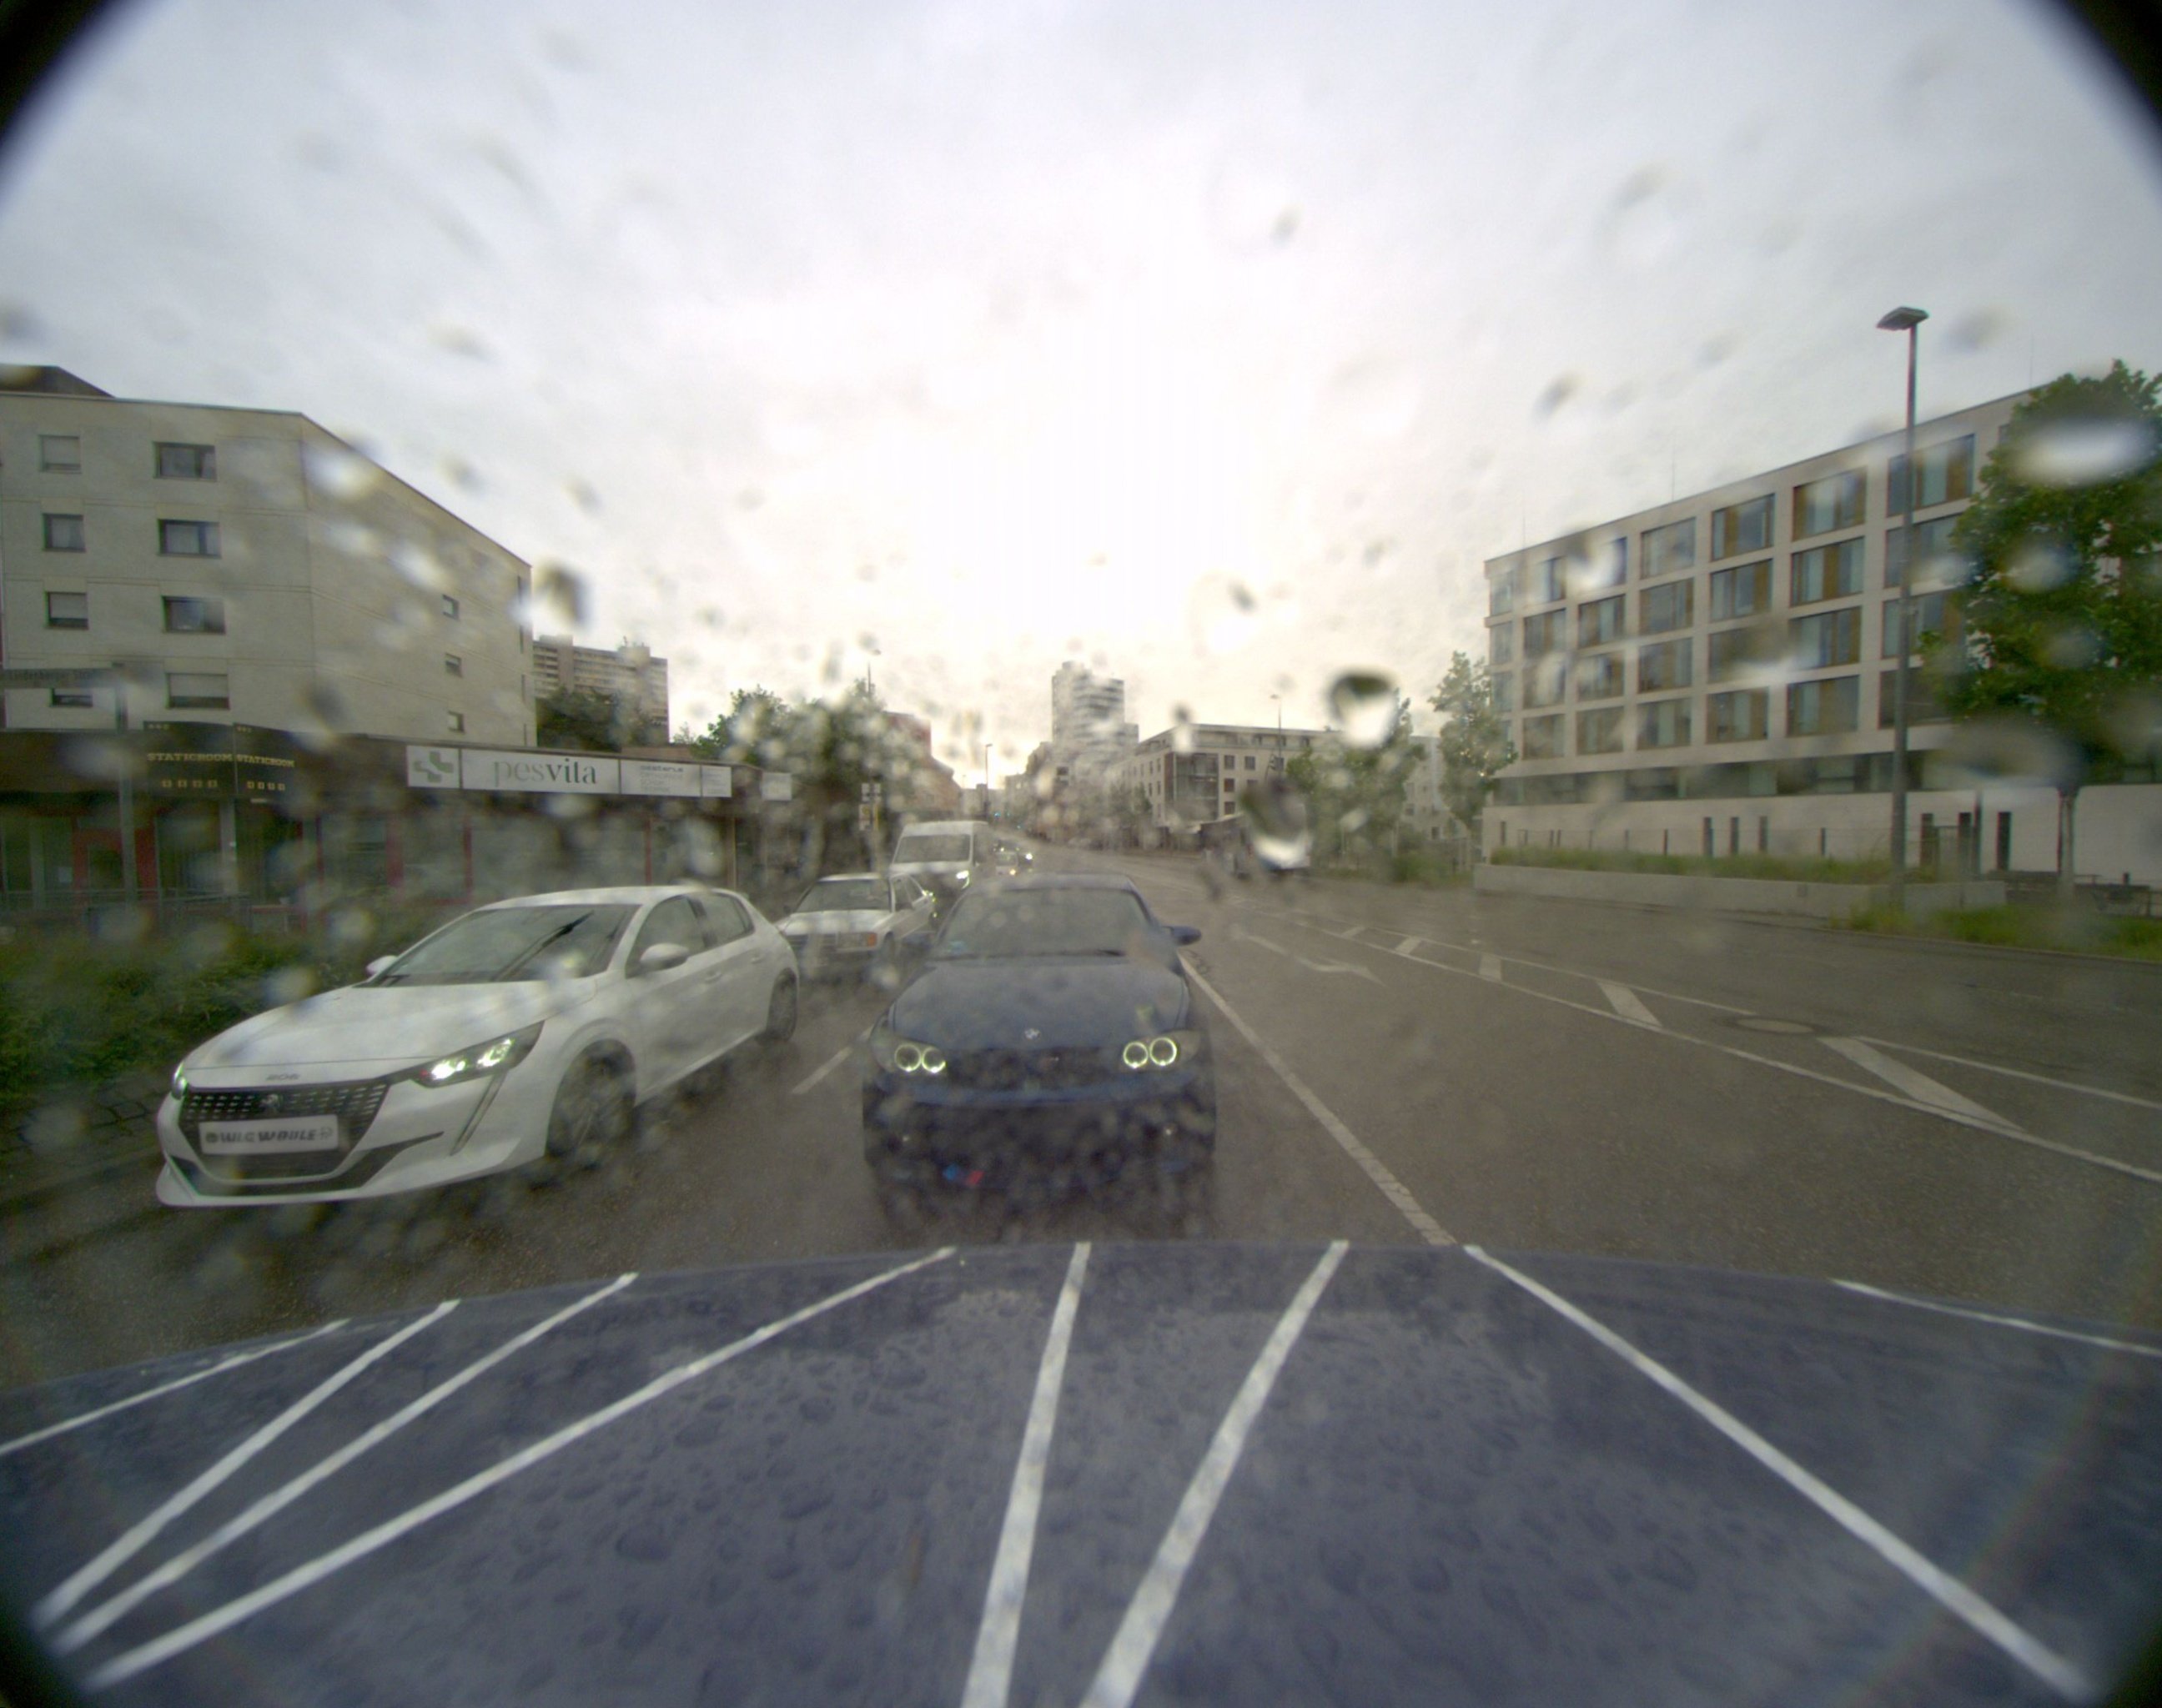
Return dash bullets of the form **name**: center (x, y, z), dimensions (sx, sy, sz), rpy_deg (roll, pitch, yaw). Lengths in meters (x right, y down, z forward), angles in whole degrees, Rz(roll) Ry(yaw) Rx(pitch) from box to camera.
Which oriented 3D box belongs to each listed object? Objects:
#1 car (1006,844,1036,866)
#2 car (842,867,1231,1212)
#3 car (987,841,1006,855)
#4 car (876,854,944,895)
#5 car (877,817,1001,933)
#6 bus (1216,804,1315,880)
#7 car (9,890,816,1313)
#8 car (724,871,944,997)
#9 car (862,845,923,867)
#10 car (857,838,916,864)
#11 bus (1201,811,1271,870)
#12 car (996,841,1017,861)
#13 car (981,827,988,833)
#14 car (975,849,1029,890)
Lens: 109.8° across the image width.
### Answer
- **car**: center (-4.550, 0.046, 57.911), dimensions (1.999, 1.559, 3.998), rpy_deg (-2, 1, -1)
- **car**: center (-0.238, 0.861, 5.397), dimensions (1.693, 1.380, 3.999), rpy_deg (-2, 1, -1)
- **car**: center (-10.771, -0.778, 97.318), dimensions (1.879, 1.745, 4.000), rpy_deg (1, 0, 1)
- **car**: center (-7.006, 0.788, 31.578), dimensions (1.788, 1.481, 4.000), rpy_deg (-2, 1, 1)
- **car**: center (-3.465, 0.404, 19.852), dimensions (2.197, 2.503, 6.120), rpy_deg (-1, 1, -2)
- **bus**: center (8.357, -0.543, 35.682), dimensions (2.783, 3.096, 9.369), rpy_deg (0, 1, 3)
- **car**: center (-3.364, 1.084, 5.071), dimensions (1.666, 1.407, 4.114), rpy_deg (-2, 1, 1)
- **car**: center (-3.366, 1.019, 11.283), dimensions (1.788, 1.338, 4.162), rpy_deg (-2, 1, 1)
- **car**: center (-13.105, 0.115, 53.004), dimensions (4.000, 1.419, 1.882), rpy_deg (-1, 1, -10)
- **car**: center (-14.130, -0.249, 55.321), dimensions (4.000, 1.769, 1.882), rpy_deg (-1, 1, -10)
- **bus**: center (8.924, -0.763, 44.763), dimensions (2.798, 3.096, 8.885), rpy_deg (0, 1, 3)
- **car**: center (-7.747, -0.388, 79.168), dimensions (1.999, 2.002, 3.997), rpy_deg (-1, 1, -4)
- **car**: center (-26.758, -6.751, 211.484), dimensions (1.666, 1.625, 3.801), rpy_deg (-2, 1, -11)
- **car**: center (-3.341, 0.622, 32.901), dimensions (1.803, 1.530, 3.999), rpy_deg (-2, 1, 1)
